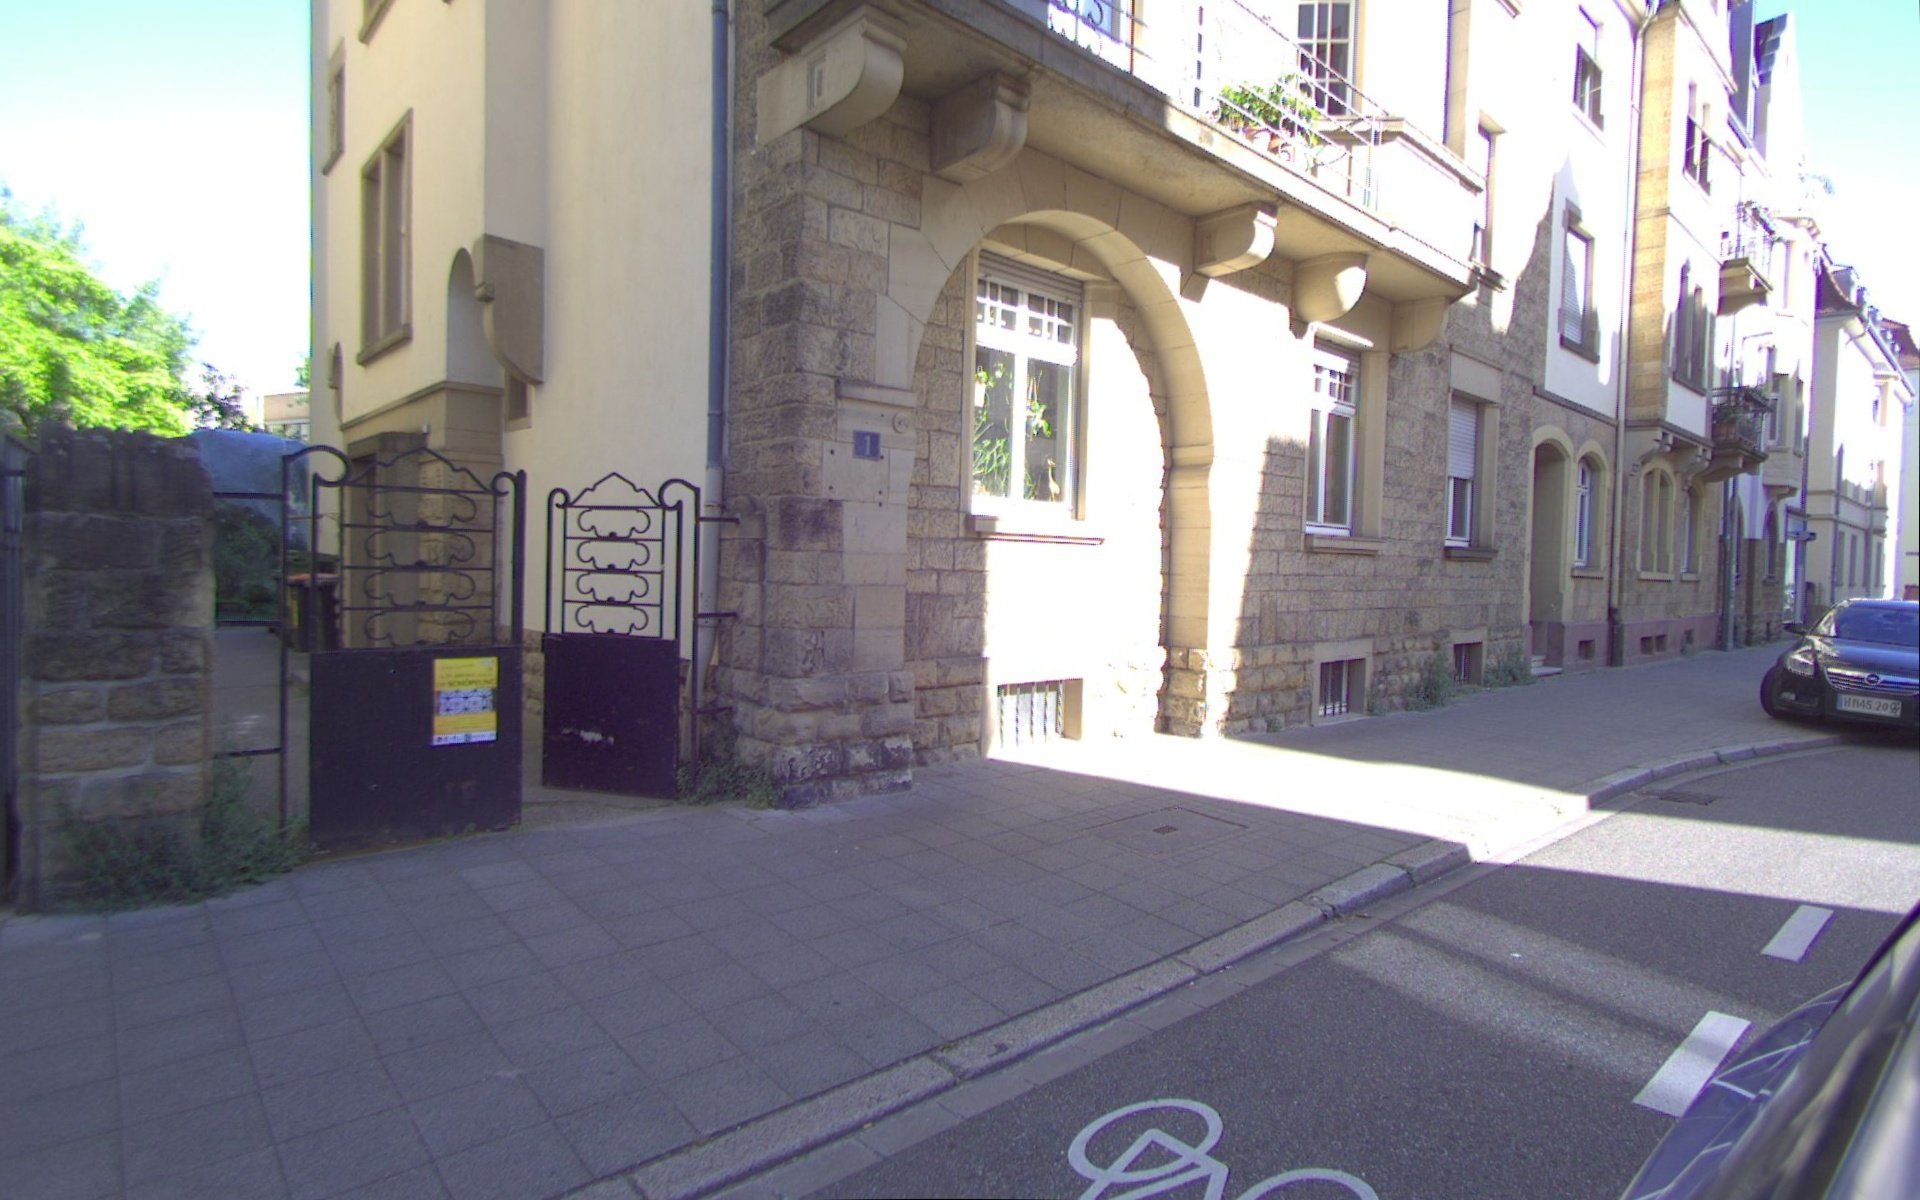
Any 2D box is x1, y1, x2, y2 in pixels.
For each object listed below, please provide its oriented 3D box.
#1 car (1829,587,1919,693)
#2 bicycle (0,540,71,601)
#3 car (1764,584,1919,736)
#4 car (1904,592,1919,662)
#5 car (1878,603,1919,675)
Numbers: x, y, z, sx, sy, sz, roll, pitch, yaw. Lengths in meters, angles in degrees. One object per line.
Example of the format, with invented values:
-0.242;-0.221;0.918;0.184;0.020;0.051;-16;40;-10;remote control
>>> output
15.032;0.575;15.857;4.186;1.460;1.654;0;3;-43;car
-18.859;-0.617;20.015;2.834;1.124;0.865;3;2;25;bicycle
11.035;0.600;11.844;4.265;1.480;1.869;0;3;-43;car
21.986;0.591;22.174;1.787;1.447;3.746;3;2;44;car
18.789;0.723;19.203;3.874;1.270;1.695;0;2;-43;car
